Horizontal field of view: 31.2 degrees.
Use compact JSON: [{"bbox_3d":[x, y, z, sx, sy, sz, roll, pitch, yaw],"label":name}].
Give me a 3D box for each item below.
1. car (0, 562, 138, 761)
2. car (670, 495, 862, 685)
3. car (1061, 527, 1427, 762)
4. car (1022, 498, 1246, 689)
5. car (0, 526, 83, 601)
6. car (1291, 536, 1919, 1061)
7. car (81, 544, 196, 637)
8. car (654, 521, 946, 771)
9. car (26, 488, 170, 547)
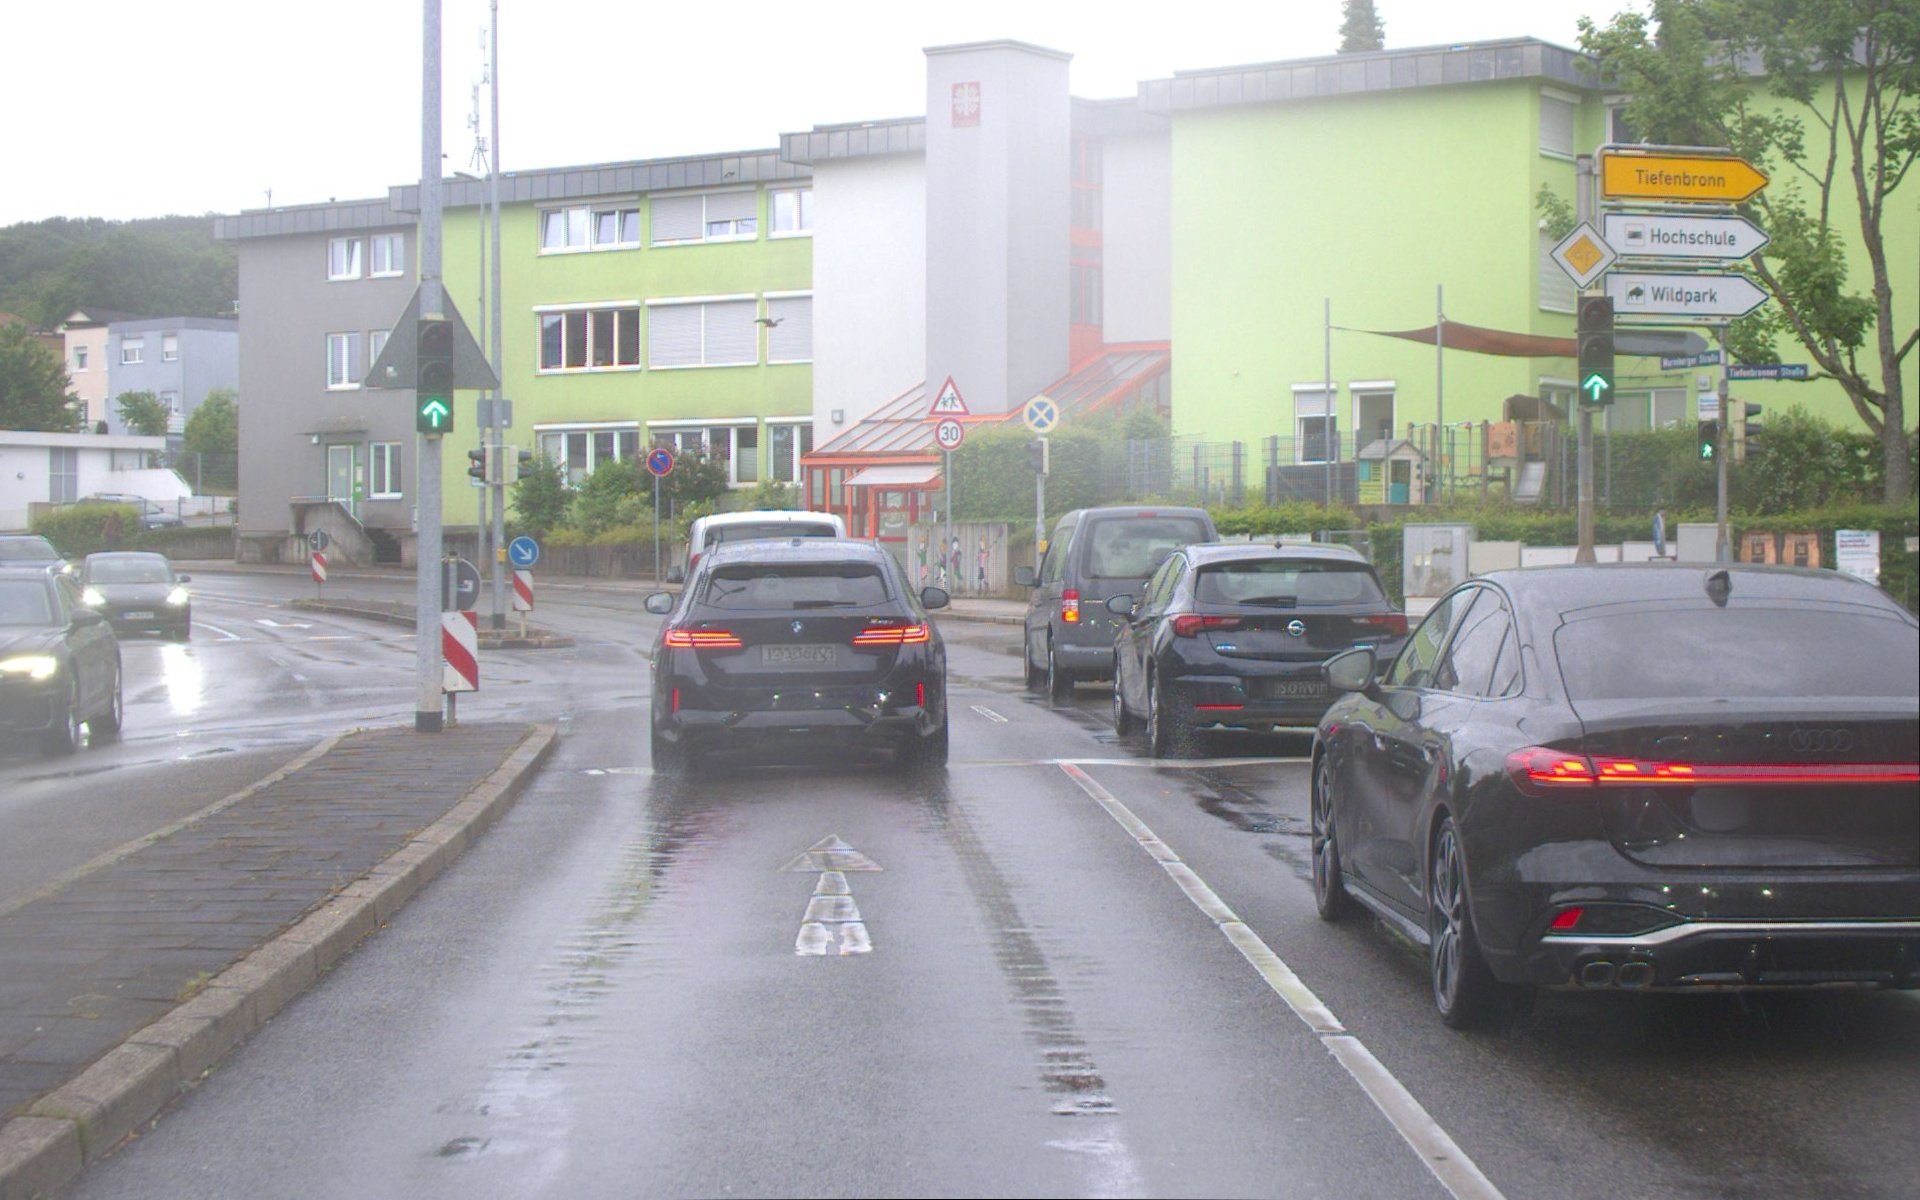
[{"bbox_3d":[-7.789,0.449,27.474,1.737,1.432,4.558,-2,1,-6],"label":"car"},{"bbox_3d":[-2.134,-0.162,36.878,1.716,1.838,4.088,2,2,-7],"label":"car"},{"bbox_3d":[1.910,0.243,24.390,1.849,1.481,4.088,-1,2,-6],"label":"car"},{"bbox_3d":[1.644,-0.120,33.751,1.783,1.728,4.087,-1,2,-3],"label":"car"},{"bbox_3d":[-20.435,-0.818,75.458,1.849,1.559,4.001,-2,2,-21],"label":"car"},{"bbox_3d":[2.250,0.512,11.829,1.706,1.422,4.509,0,1,-1],"label":"car"},{"bbox_3d":[-14.099,-0.187,59.132,1.792,1.484,4.155,-3,1,-13],"label":"car"},{"bbox_3d":[-1.142,0.234,22.917,1.682,1.501,3.774,-1,1,-6],"label":"car"},{"bbox_3d":[-28.341,-2.715,112.968,4.393,1.766,2.001,-3,1,-18],"label":"car"}]
